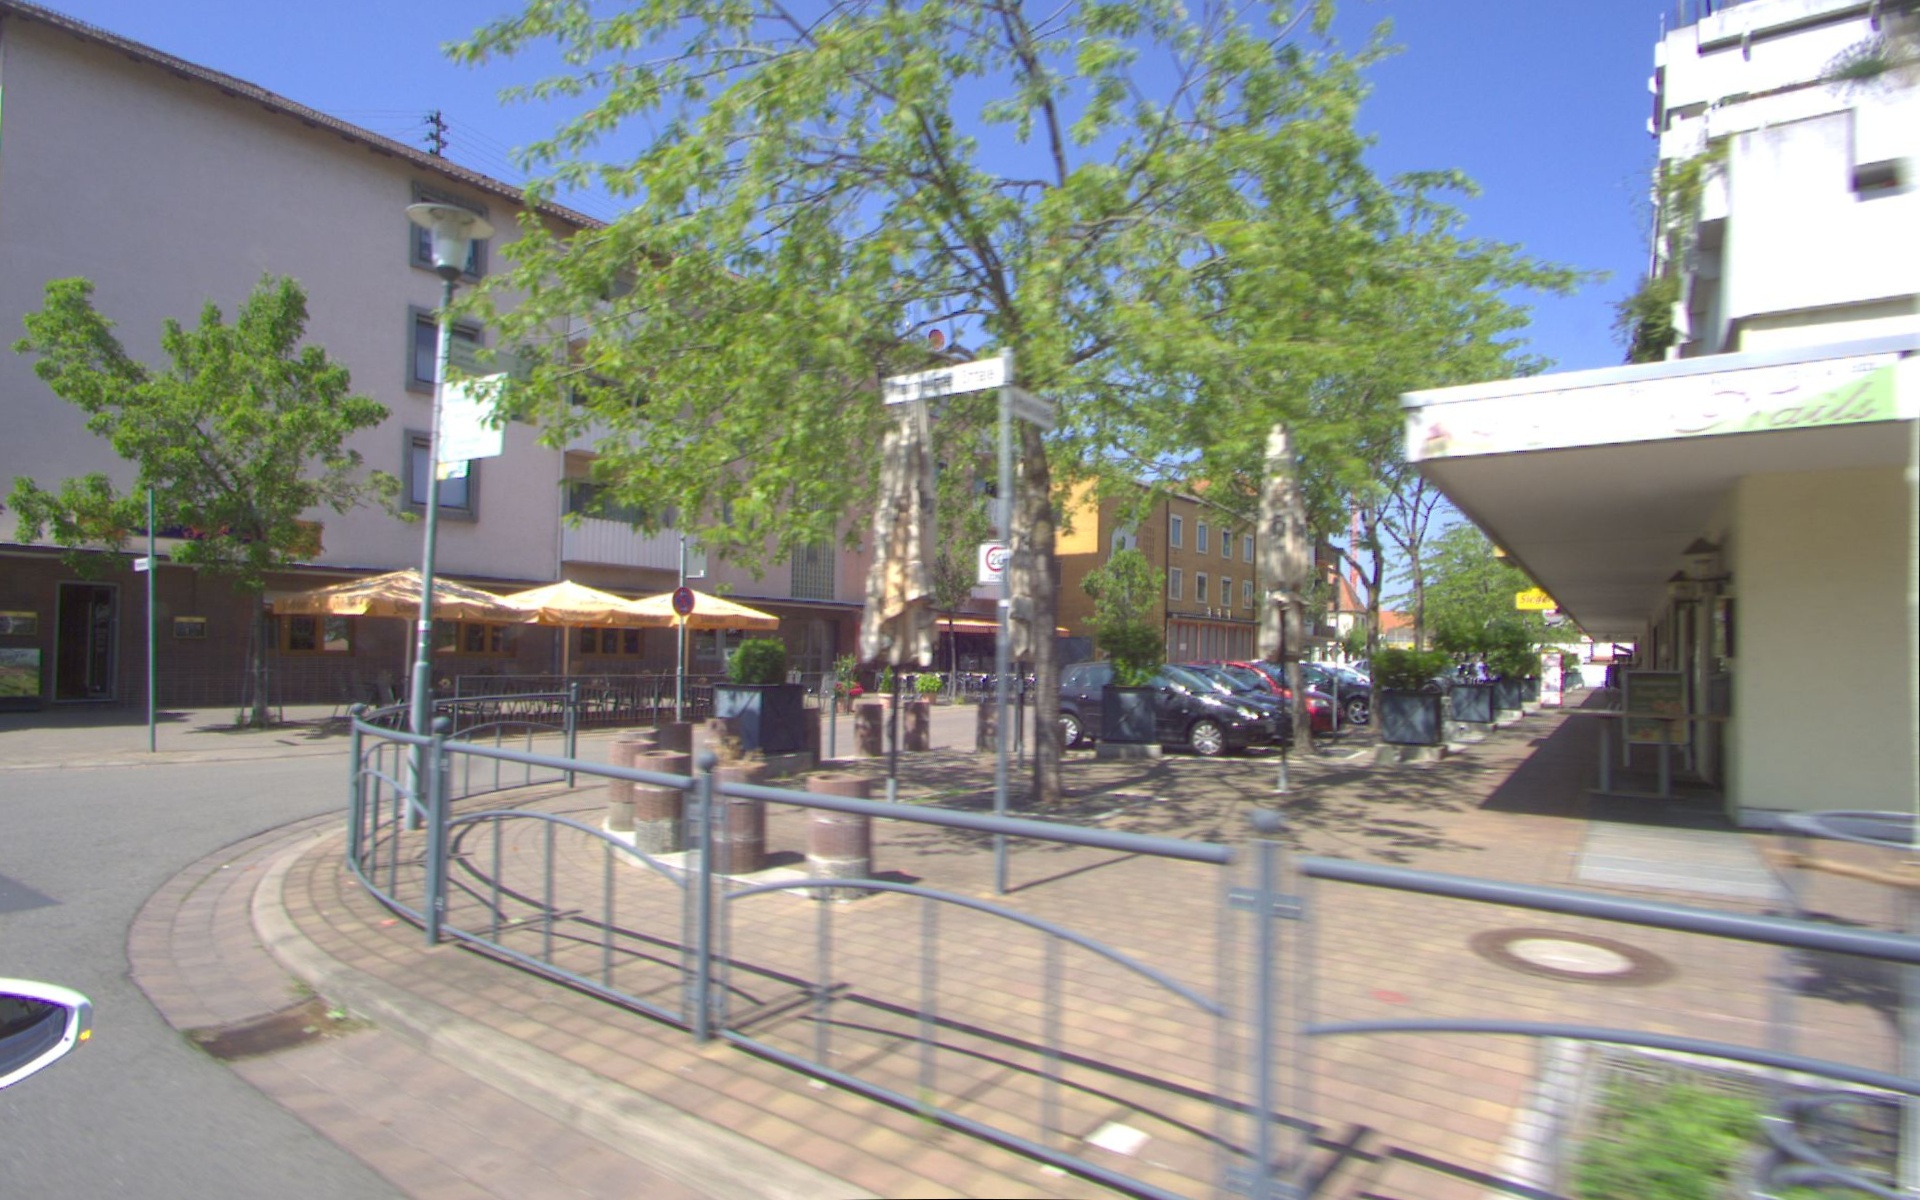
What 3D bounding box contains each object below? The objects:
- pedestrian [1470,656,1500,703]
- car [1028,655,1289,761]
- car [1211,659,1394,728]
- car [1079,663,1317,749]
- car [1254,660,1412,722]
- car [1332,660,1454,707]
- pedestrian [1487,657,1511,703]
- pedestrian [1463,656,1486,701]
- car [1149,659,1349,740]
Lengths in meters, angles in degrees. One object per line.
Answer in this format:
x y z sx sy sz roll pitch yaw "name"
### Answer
20.766 3.132 39.591 0.799 1.809 0.832 2 -2 -44 "pedestrian"
3.272 1.717 16.707 3.915 1.528 1.764 -1 -4 32 "car"
8.706 2.324 25.498 4.133 1.560 1.939 -1 -3 30 "car"
4.468 1.932 19.010 4.054 1.449 1.775 -2 -3 33 "car"
11.047 2.635 29.743 4.111 1.594 1.749 -1 -2 35 "car"
16.927 3.230 39.168 4.198 1.635 1.551 0 -3 33 "car"
21.936 3.244 40.776 0.827 1.809 0.804 0 -2 27 "pedestrian"
20.927 3.181 40.744 0.827 1.809 0.804 0 -2 27 "pedestrian"
6.016 2.018 20.963 3.684 1.553 1.757 -2 -4 34 "car"
